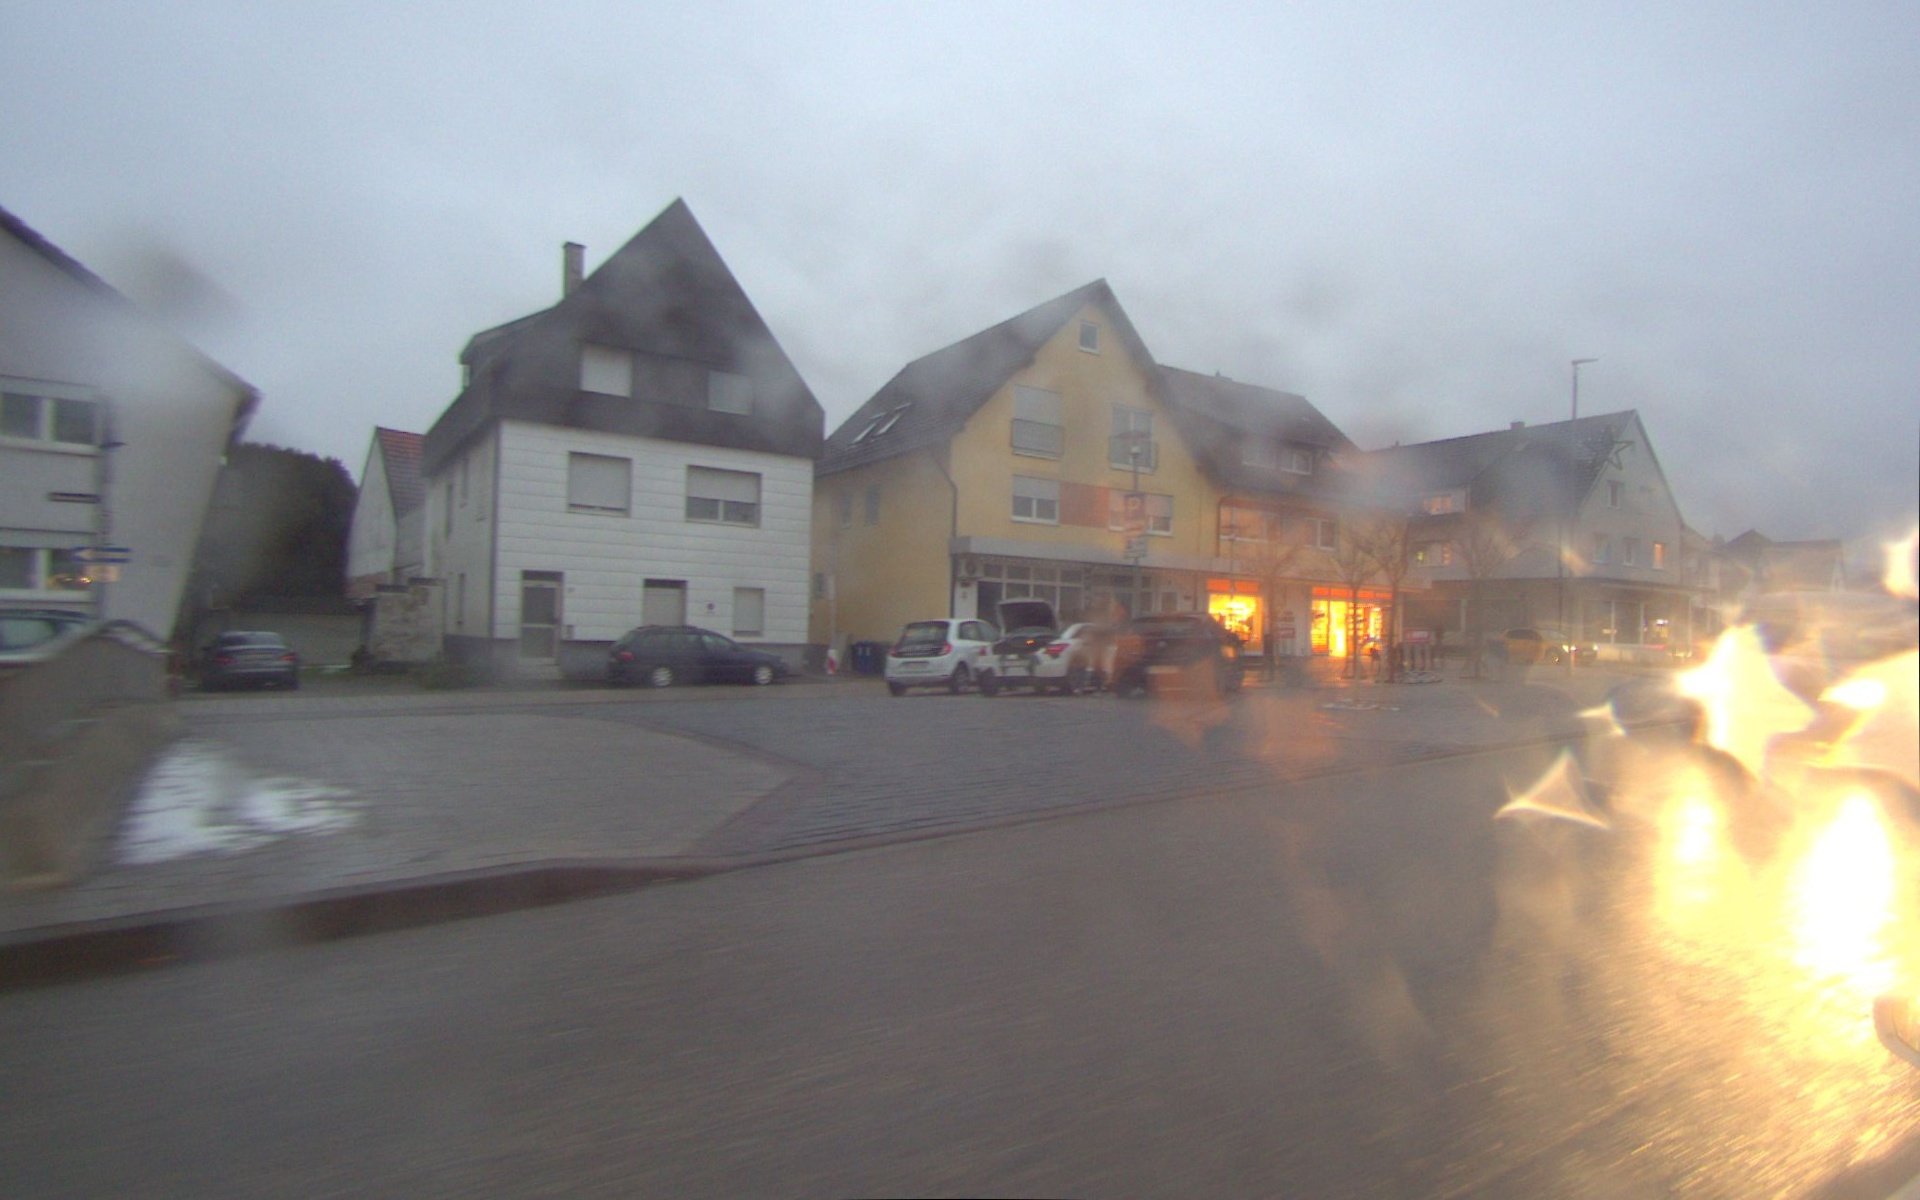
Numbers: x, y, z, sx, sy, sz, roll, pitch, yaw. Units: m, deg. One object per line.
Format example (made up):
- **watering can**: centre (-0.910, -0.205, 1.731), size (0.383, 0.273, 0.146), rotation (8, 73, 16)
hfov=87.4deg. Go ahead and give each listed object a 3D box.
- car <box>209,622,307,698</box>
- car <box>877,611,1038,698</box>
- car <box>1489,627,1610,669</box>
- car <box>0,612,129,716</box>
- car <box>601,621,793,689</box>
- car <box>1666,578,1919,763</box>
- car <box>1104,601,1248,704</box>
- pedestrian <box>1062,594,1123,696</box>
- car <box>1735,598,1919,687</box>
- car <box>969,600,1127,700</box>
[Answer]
- **car**: centre (-17.221, 1.497, 24.571), size (1.703, 1.704, 3.957), rotation (4, -5, -38)
- **car**: centre (0.050, 1.126, 21.430), size (1.733, 1.652, 3.994), rotation (-2, -2, 28)
- **car**: centre (23.013, 1.854, 39.365), size (1.691, 1.440, 3.820), rotation (4, -2, -22)
- **car**: centre (-15.949, 0.996, 15.999), size (4.057, 1.590, 1.761), rotation (2, -1, -38)
- **car**: centre (-6.665, 1.337, 25.620), size (4.377, 1.520, 1.899), rotation (1, 1, -34)
- **car**: centre (10.095, 0.706, 11.868), size (4.098, 1.837, 1.706), rotation (1, 1, -37)
- **car**: centre (3.929, 0.867, 17.696), size (1.876, 1.551, 4.180), rotation (1, -1, 20)
- **pedestrian**: centre (2.324, 0.790, 17.597), size (0.826, 1.734, 0.723), rotation (-2, -2, 28)
- **car**: centre (22.478, 1.051, 26.310), size (1.960, 2.040, 4.900), rotation (1, -1, 19)
- **car**: centre (1.789, 0.930, 19.162), size (1.806, 1.692, 3.894), rotation (-2, -2, 24)
